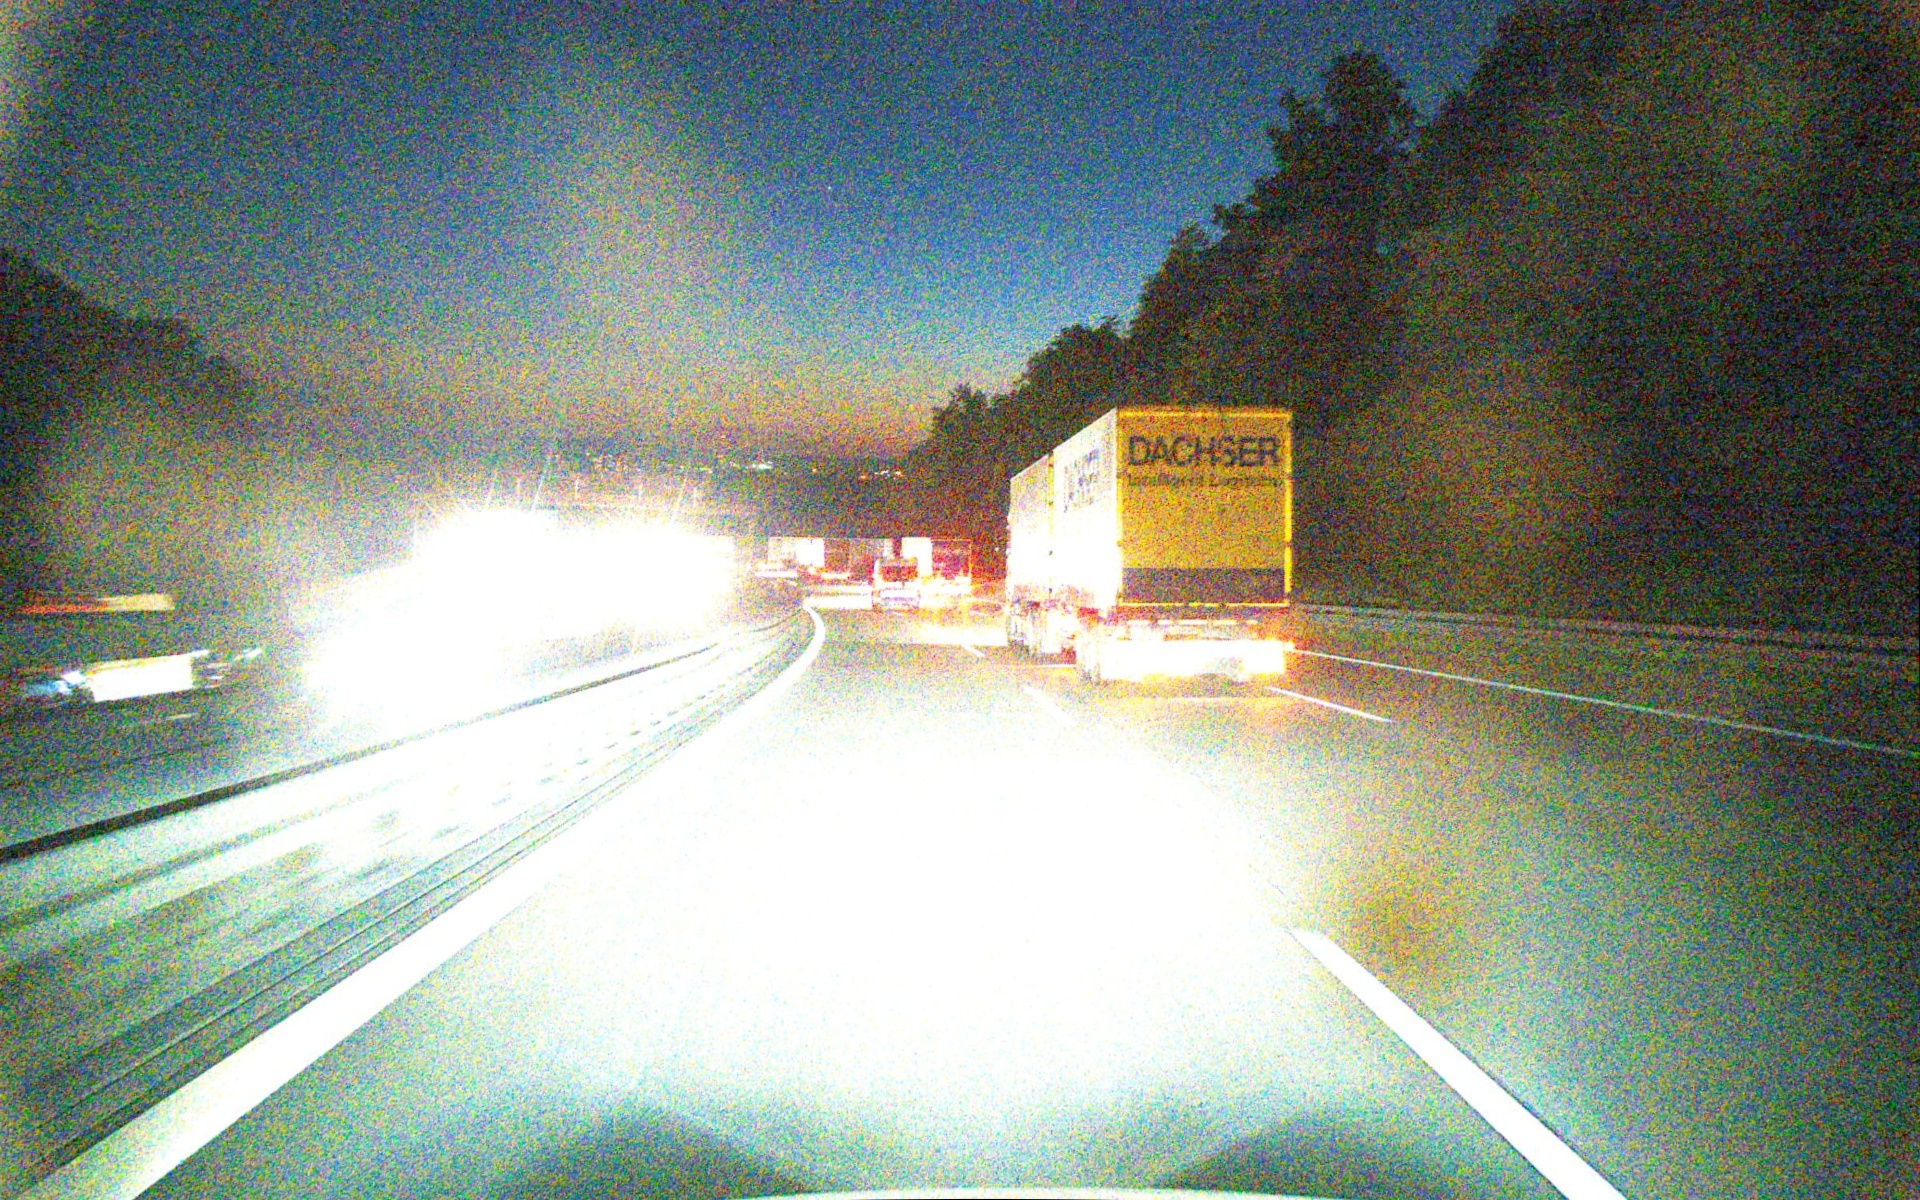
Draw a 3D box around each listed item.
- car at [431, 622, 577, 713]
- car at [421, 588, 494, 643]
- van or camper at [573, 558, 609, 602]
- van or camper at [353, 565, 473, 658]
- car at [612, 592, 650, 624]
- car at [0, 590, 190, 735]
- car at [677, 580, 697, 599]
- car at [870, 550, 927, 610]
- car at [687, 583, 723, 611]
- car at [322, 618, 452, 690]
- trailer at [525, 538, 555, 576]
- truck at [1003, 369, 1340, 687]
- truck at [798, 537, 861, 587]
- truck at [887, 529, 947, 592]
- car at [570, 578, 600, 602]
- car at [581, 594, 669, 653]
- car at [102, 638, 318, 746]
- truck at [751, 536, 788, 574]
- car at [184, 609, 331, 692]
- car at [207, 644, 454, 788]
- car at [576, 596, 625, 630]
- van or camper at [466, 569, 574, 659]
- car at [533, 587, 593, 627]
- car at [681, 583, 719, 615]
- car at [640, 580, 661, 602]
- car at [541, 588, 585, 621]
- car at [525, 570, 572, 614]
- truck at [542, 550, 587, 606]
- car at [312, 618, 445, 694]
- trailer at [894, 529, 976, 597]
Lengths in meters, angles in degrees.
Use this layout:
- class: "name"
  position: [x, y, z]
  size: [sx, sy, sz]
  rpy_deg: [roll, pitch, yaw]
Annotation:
- class: "car"
  position: [-8.513, 1.213, 31.231]
  size: [1.783, 1.477, 4.501]
  rpy_deg: [-1, 1, -4]
- class: "car"
  position: [-18.956, 0.551, 62.546]
  size: [1.804, 1.956, 4.557]
  rpy_deg: [-2, 0, -7]
- class: "van or camper"
  position: [-26.871, -1.535, 120.578]
  size: [2.182, 3.055, 7.108]
  rpy_deg: [-1, 2, -10]
- class: "van or camper"
  position: [-17.650, 0.318, 53.771]
  size: [2.398, 2.809, 6.479]
  rpy_deg: [-1, 0, -7]
- class: "car"
  position: [-19.102, 0.449, 96.117]
  size: [1.957, 1.689, 4.444]
  rpy_deg: [-1, 1, -9]
- class: "car"
  position: [-16.144, 1.032, 30.345]
  size: [1.798, 2.412, 5.442]
  rpy_deg: [-1, 0, -4]
- class: "car"
  position: [-20.185, -0.795, 122.246]
  size: [1.393, 1.278, 3.121]
  rpy_deg: [-1, 2, -11]
- class: "car"
  position: [-2.847, -0.911, 77.884]
  size: [2.289, 2.686, 5.248]
  rpy_deg: [1, 0, 1]
- class: "car"
  position: [-13.436, -0.165, 87.330]
  size: [1.721, 1.378, 4.285]
  rpy_deg: [-1, 1, -7]
- class: "car"
  position: [-13.438, 1.227, 39.065]
  size: [1.783, 1.477, 4.501]
  rpy_deg: [-1, 1, -4]
- class: "trailer"
  position: [-48.831, -5.045, 191.998]
  size: [2.794, 4.243, 13.227]
  rpy_deg: [-3, 3, -16]
- class: "truck"
  position: [3.119, -1.040, 31.824]
  size: [3.412, 4.207, 18.702]
  rpy_deg: [2, 0, -2]
- class: "truck"
  position: [-13.839, -4.012, 172.765]
  size: [3.846, 4.707, 20.960]
  rpy_deg: [2, 1, -12]
- class: "truck"
  position: [-3.005, -2.758, 113.417]
  size: [2.811, 4.147, 7.490]
  rpy_deg: [-1, 2, -12]
- class: "car"
  position: [-25.222, -0.698, 111.475]
  size: [1.610, 1.566, 4.430]
  rpy_deg: [-1, 1, -8]
- class: "car"
  position: [-9.142, 0.608, 45.395]
  size: [1.798, 1.477, 4.501]
  rpy_deg: [-1, 1, -4]
- class: "car"
  position: [-12.330, 1.462, 27.515]
  size: [1.798, 1.477, 4.501]
  rpy_deg: [-1, 1, -4]
- class: "truck"
  position: [-24.472, -5.798, 211.746]
  size: [3.285, 4.553, 13.872]
  rpy_deg: [2, 1, -12]
- class: "car"
  position: [-18.000, 1.226, 42.647]
  size: [1.798, 1.892, 5.442]
  rpy_deg: [-1, 0, -4]
- class: "car"
  position: [-8.281, 1.464, 22.175]
  size: [1.954, 1.564, 4.143]
  rpy_deg: [-1, 0, -4]
- class: "car"
  position: [-16.528, 0.586, 76.181]
  size: [1.574, 1.505, 4.071]
  rpy_deg: [-1, 0, -4]
- class: "van or camper"
  position: [-13.985, 0.361, 52.948]
  size: [2.212, 2.640, 6.679]
  rpy_deg: [-2, 1, -6]
- class: "car"
  position: [-15.474, 0.270, 64.659]
  size: [1.715, 1.478, 3.836]
  rpy_deg: [-2, 0, -6]
- class: "car"
  position: [-12.552, -0.083, 79.936]
  size: [1.721, 1.378, 4.626]
  rpy_deg: [-1, 2, -8]
- class: "car"
  position: [-24.254, -0.719, 129.536]
  size: [1.611, 1.566, 3.990]
  rpy_deg: [-1, 1, -11]
- class: "car"
  position: [-22.147, 0.239, 92.360]
  size: [1.826, 1.729, 4.386]
  rpy_deg: [-2, 1, -7]
- class: "car"
  position: [-19.878, -0.412, 80.057]
  size: [1.958, 1.993, 4.973]
  rpy_deg: [-2, 1, -11]
- class: "truck"
  position: [-24.572, -1.360, 102.983]
  size: [2.333, 3.316, 7.701]
  rpy_deg: [-2, 1, -12]
- class: "car"
  position: [-13.474, 1.249, 38.567]
  size: [1.783, 1.541, 4.501]
  rpy_deg: [-1, 1, -4]
- class: "trailer"
  position: [-1.794, -2.524, 107.855]
  size: [2.804, 4.137, 13.166]
  rpy_deg: [-1, 2, -12]
